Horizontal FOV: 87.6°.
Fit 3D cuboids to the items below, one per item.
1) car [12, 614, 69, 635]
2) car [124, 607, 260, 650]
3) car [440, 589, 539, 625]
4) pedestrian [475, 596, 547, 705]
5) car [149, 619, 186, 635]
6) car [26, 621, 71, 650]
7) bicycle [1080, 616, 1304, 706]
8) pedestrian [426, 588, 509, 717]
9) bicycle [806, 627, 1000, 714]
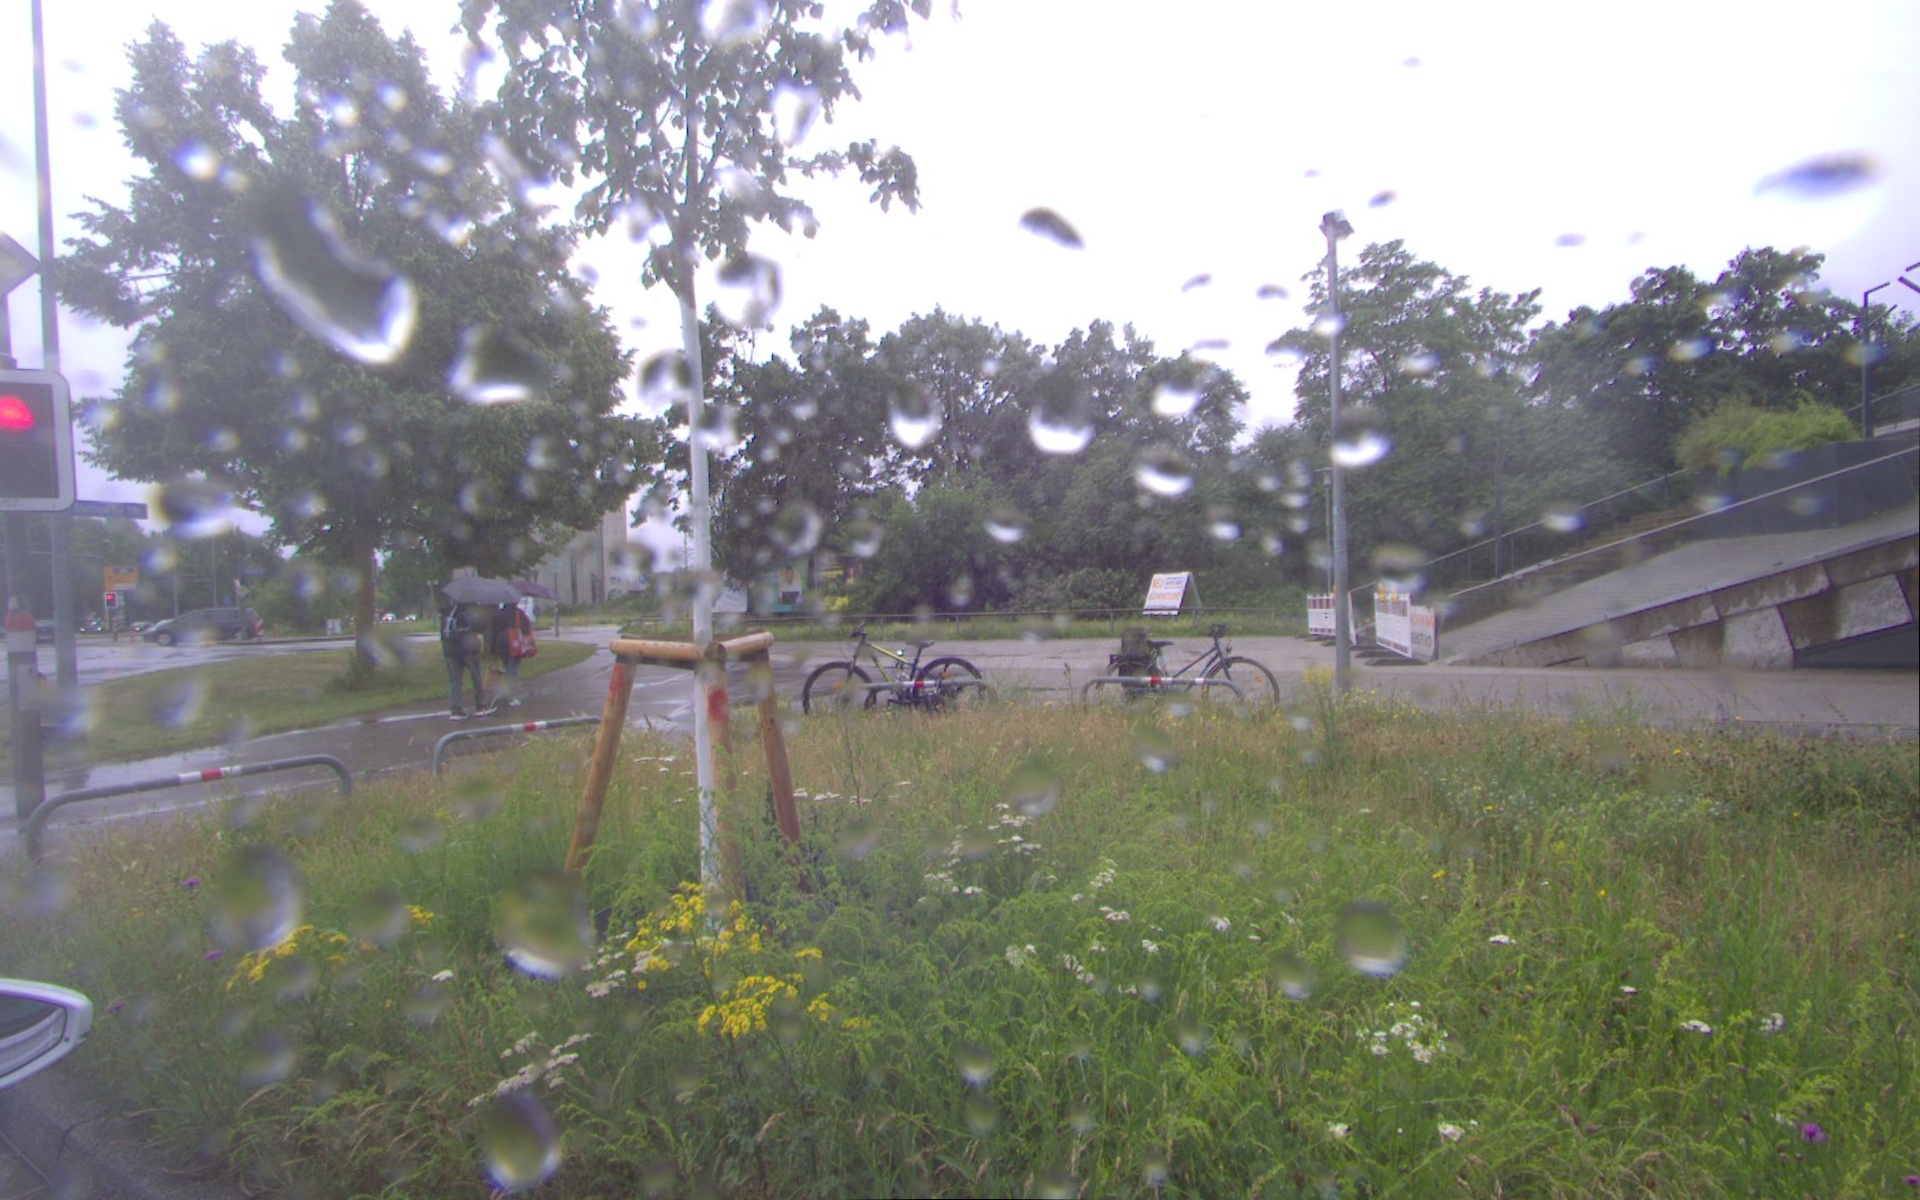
[{"bbox_3d":[-77.812,2.036,84.830,1.770,1.684,4.401,-1,0,-16],"label":"car"},{"bbox_3d":[-35.453,1.329,46.398,4.706,1.874,1.991,1,-2,-29],"label":"car"},{"bbox_3d":[-26.631,0.426,56.805,1.975,1.874,4.745,-2,-3,37],"label":"car"},{"bbox_3d":[-6.347,0.702,14.166,0.564,1.480,0.679,-1,1,28],"label":"pedestrian"},{"bbox_3d":[-85.043,2.915,107.511,1.770,1.683,3.995,0,-2,-16],"label":"car"},{"bbox_3d":[-49.921,1.929,54.802,3.947,1.473,1.608,-1,0,45],"label":"car"},{"bbox_3d":[2.136,0.564,9.301,1.972,0.796,0.454,-1,-2,16],"label":"bicycle"},{"bbox_3d":[-6.118,0.645,12.447,0.730,1.542,0.620,-1,-1,31],"label":"pedestrian"},{"bbox_3d":[-0.544,0.675,9.682,1.823,0.797,0.380,0,-2,-2],"label":"bicycle"}]
